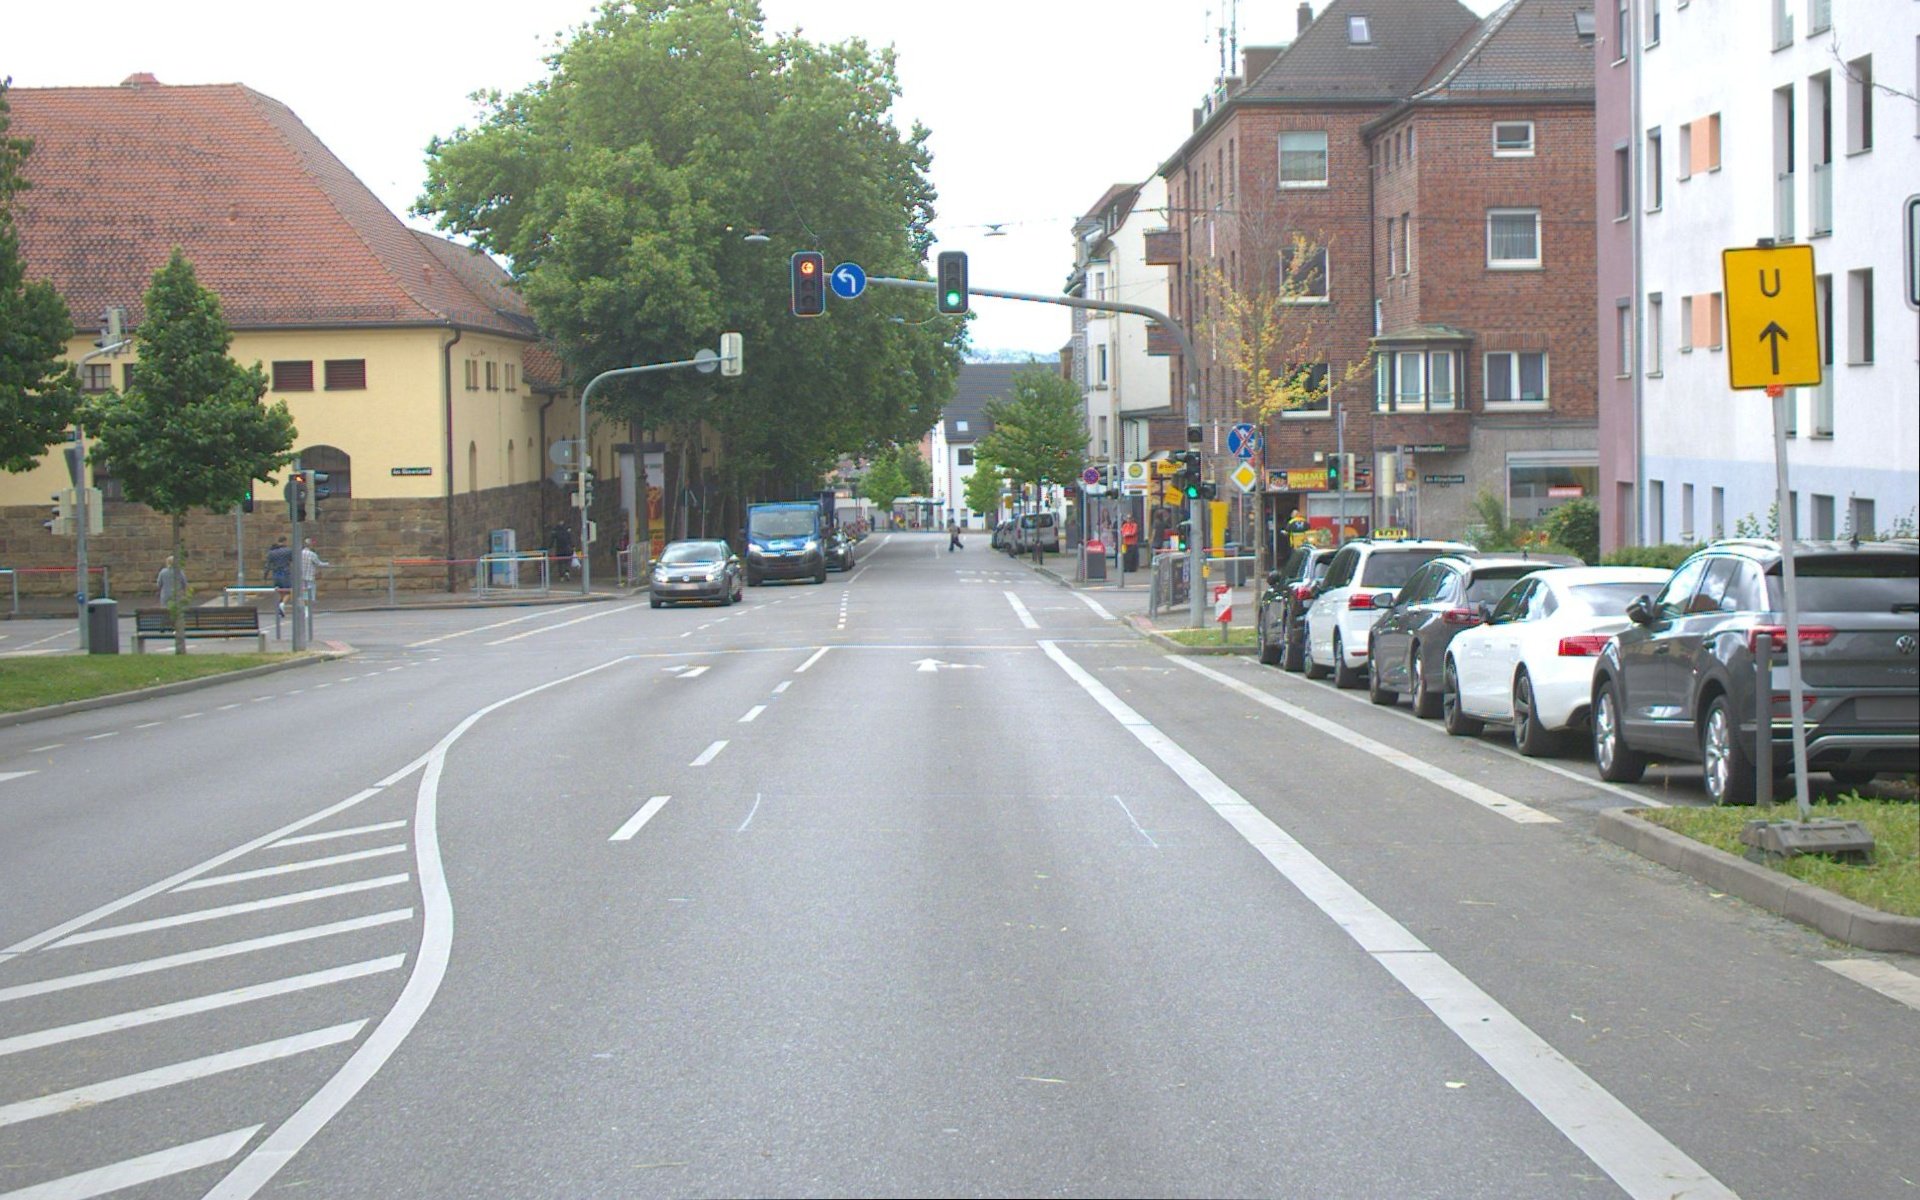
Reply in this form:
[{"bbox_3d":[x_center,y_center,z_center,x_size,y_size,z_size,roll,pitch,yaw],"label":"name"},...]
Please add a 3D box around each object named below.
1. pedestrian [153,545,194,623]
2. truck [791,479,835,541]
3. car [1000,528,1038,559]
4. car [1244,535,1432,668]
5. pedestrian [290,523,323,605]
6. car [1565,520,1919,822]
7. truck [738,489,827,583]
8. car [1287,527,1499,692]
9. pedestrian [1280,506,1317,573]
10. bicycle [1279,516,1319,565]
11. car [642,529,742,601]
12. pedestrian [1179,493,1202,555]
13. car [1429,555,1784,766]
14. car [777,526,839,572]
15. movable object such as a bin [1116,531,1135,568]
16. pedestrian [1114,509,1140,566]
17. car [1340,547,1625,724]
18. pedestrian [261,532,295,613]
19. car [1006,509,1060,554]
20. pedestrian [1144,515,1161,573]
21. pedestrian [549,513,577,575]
[{"bbox_3d":[-15.773,-0.326,68.944,0.564,1.561,0.842,0,1,5],"label":"pedestrian"},{"bbox_3d":[-8.036,-4.946,188.740,2.231,3.335,7.450,0,1,-1],"label":"truck"},{"bbox_3d":[3.007,-2.907,176.549,1.668,1.542,3.757,0,1,-3],"label":"car"},{"bbox_3d":[4.772,-0.012,43.936,1.734,1.583,4.573,1,1,-2],"label":"car"},{"bbox_3d":[-14.231,-0.780,74.873,0.564,1.771,0.717,0,1,-1],"label":"pedestrian"},{"bbox_3d":[5.015,0.356,21.097,1.631,1.644,4.357,1,1,-3],"label":"car"},{"bbox_3d":[-4.901,-1.789,94.673,2.295,2.419,6.412,-2,2,-3],"label":"truck"},{"bbox_3d":[4.834,0.056,38.902,1.658,1.710,4.552,1,1,-2],"label":"car"},{"bbox_3d":[8.569,-1.532,86.973,0.788,1.650,0.772,-3,1,0],"label":"pedestrian"},{"bbox_3d":[8.541,-1.508,86.616,0.760,1.189,2.392,0,1,0],"label":"bicycle"},{"bbox_3d":[-5.916,-0.805,76.354,1.756,1.467,4.306,-2,2,1],"label":"car"},{"bbox_3d":[6.514,-2.153,97.120,0.647,1.744,0.778,0,1,5],"label":"pedestrian"},{"bbox_3d":[4.857,0.398,26.437,1.730,1.409,4.500,1,1,-2],"label":"car"},{"bbox_3d":[-4.951,-1.694,112.566,1.703,1.409,4.192,-2,2,1],"label":"car"},{"bbox_3d":[4.817,-1.467,99.860,0.453,1.053,0.410,0,1,20],"label":"movable object such as a bin"},{"bbox_3d":[4.868,-1.818,100.081,0.565,1.631,0.680,0,1,20],"label":"pedestrian"},{"bbox_3d":[4.806,0.272,32.288,1.745,1.462,4.950,1,1,-2],"label":"car"},{"bbox_3d":[-14.988,-0.616,75.591,0.564,1.771,0.842,0,1,-1],"label":"pedestrian"},{"bbox_3d":[3.221,-3.046,152.398,1.993,1.929,4.920,0,1,-3],"label":"car"},{"bbox_3d":[5.827,-1.702,104.126,0.479,1.759,0.458,-1,1,0],"label":"pedestrian"},{"bbox_3d":[-11.275,-1.590,97.686,0.674,1.759,0.725,-1,1,0],"label":"pedestrian"}]
